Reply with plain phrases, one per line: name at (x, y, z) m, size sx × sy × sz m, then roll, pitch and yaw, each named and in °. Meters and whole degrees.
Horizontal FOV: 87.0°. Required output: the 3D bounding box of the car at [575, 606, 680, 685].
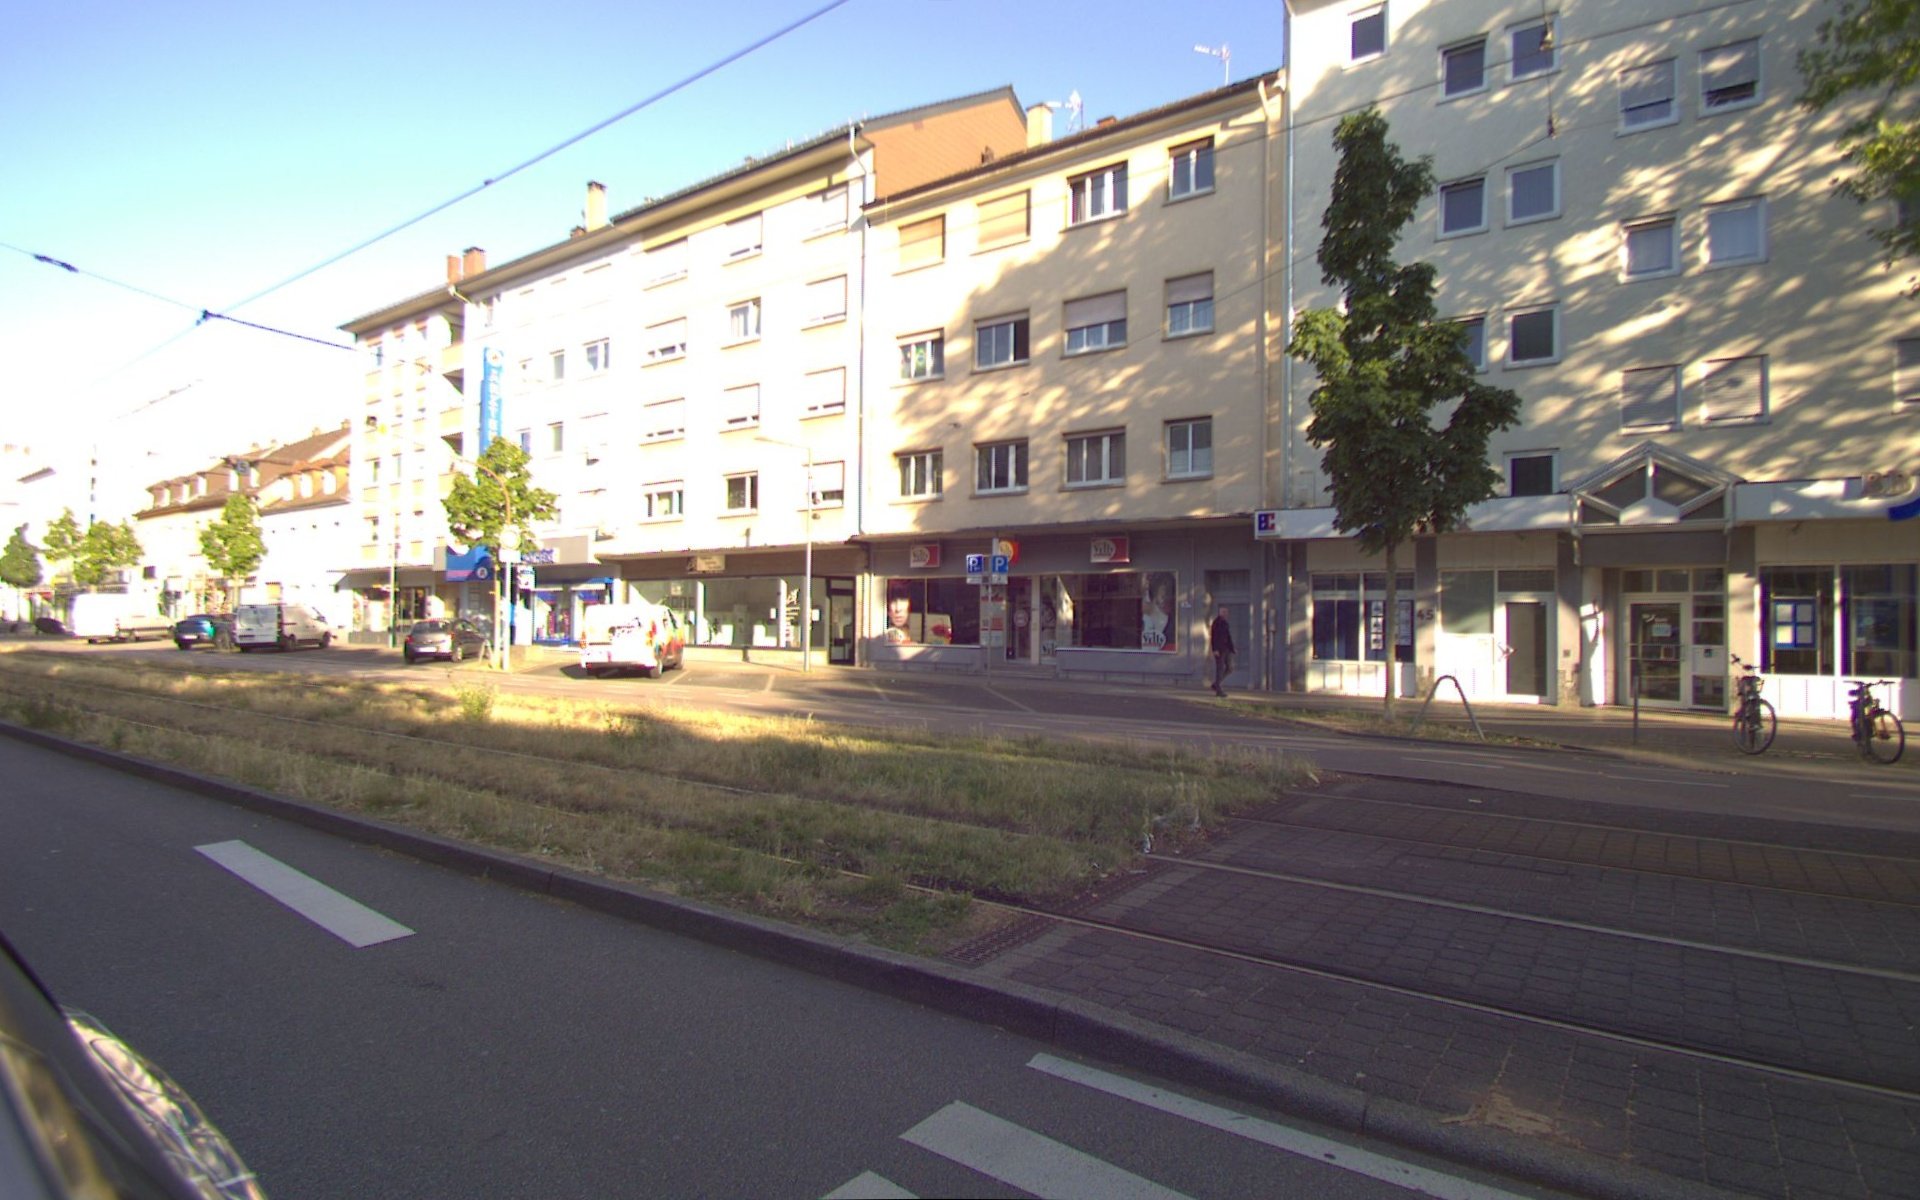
car at (-8.793, 1.139, 27.069) m, size 1.830 × 1.913 × 4.005 m, roll 0°, pitch 0°, yaw -6°

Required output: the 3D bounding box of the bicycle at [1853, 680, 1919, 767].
bicycle at (11.338, 1.475, 12.363) m, size 0.471 × 0.895 × 1.724 m, roll -1°, pitch -1°, yaw 36°

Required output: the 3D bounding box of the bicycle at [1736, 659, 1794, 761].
bicycle at (10.304, 1.373, 12.984) m, size 0.511 × 1.147 × 1.724 m, roll -1°, pitch -1°, yaw 36°

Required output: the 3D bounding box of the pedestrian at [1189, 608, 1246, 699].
pedestrian at (5.339, 1.092, 20.989) m, size 0.916 × 1.841 × 0.747 m, roll -1°, pitch -1°, yaw 41°

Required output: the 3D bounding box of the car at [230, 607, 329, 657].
car at (-28.634, 1.293, 42.738) m, size 1.828 × 1.952 × 4.514 m, roll 0°, pitch 0°, yaw -10°

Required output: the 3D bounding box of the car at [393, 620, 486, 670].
car at (-17.611, 1.481, 34.411) m, size 1.708 × 1.508 × 4.009 m, roll 0°, pitch 0°, yaw -10°

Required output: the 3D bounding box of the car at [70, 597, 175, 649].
car at (-45.411, 1.204, 55.089) m, size 1.895 × 2.634 × 6.608 m, roll 0°, pitch 0°, yaw -16°

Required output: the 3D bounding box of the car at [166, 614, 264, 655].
car at (-34.167, 1.545, 46.532) m, size 1.830 × 1.727 × 3.919 m, roll 0°, pitch 0°, yaw -4°
